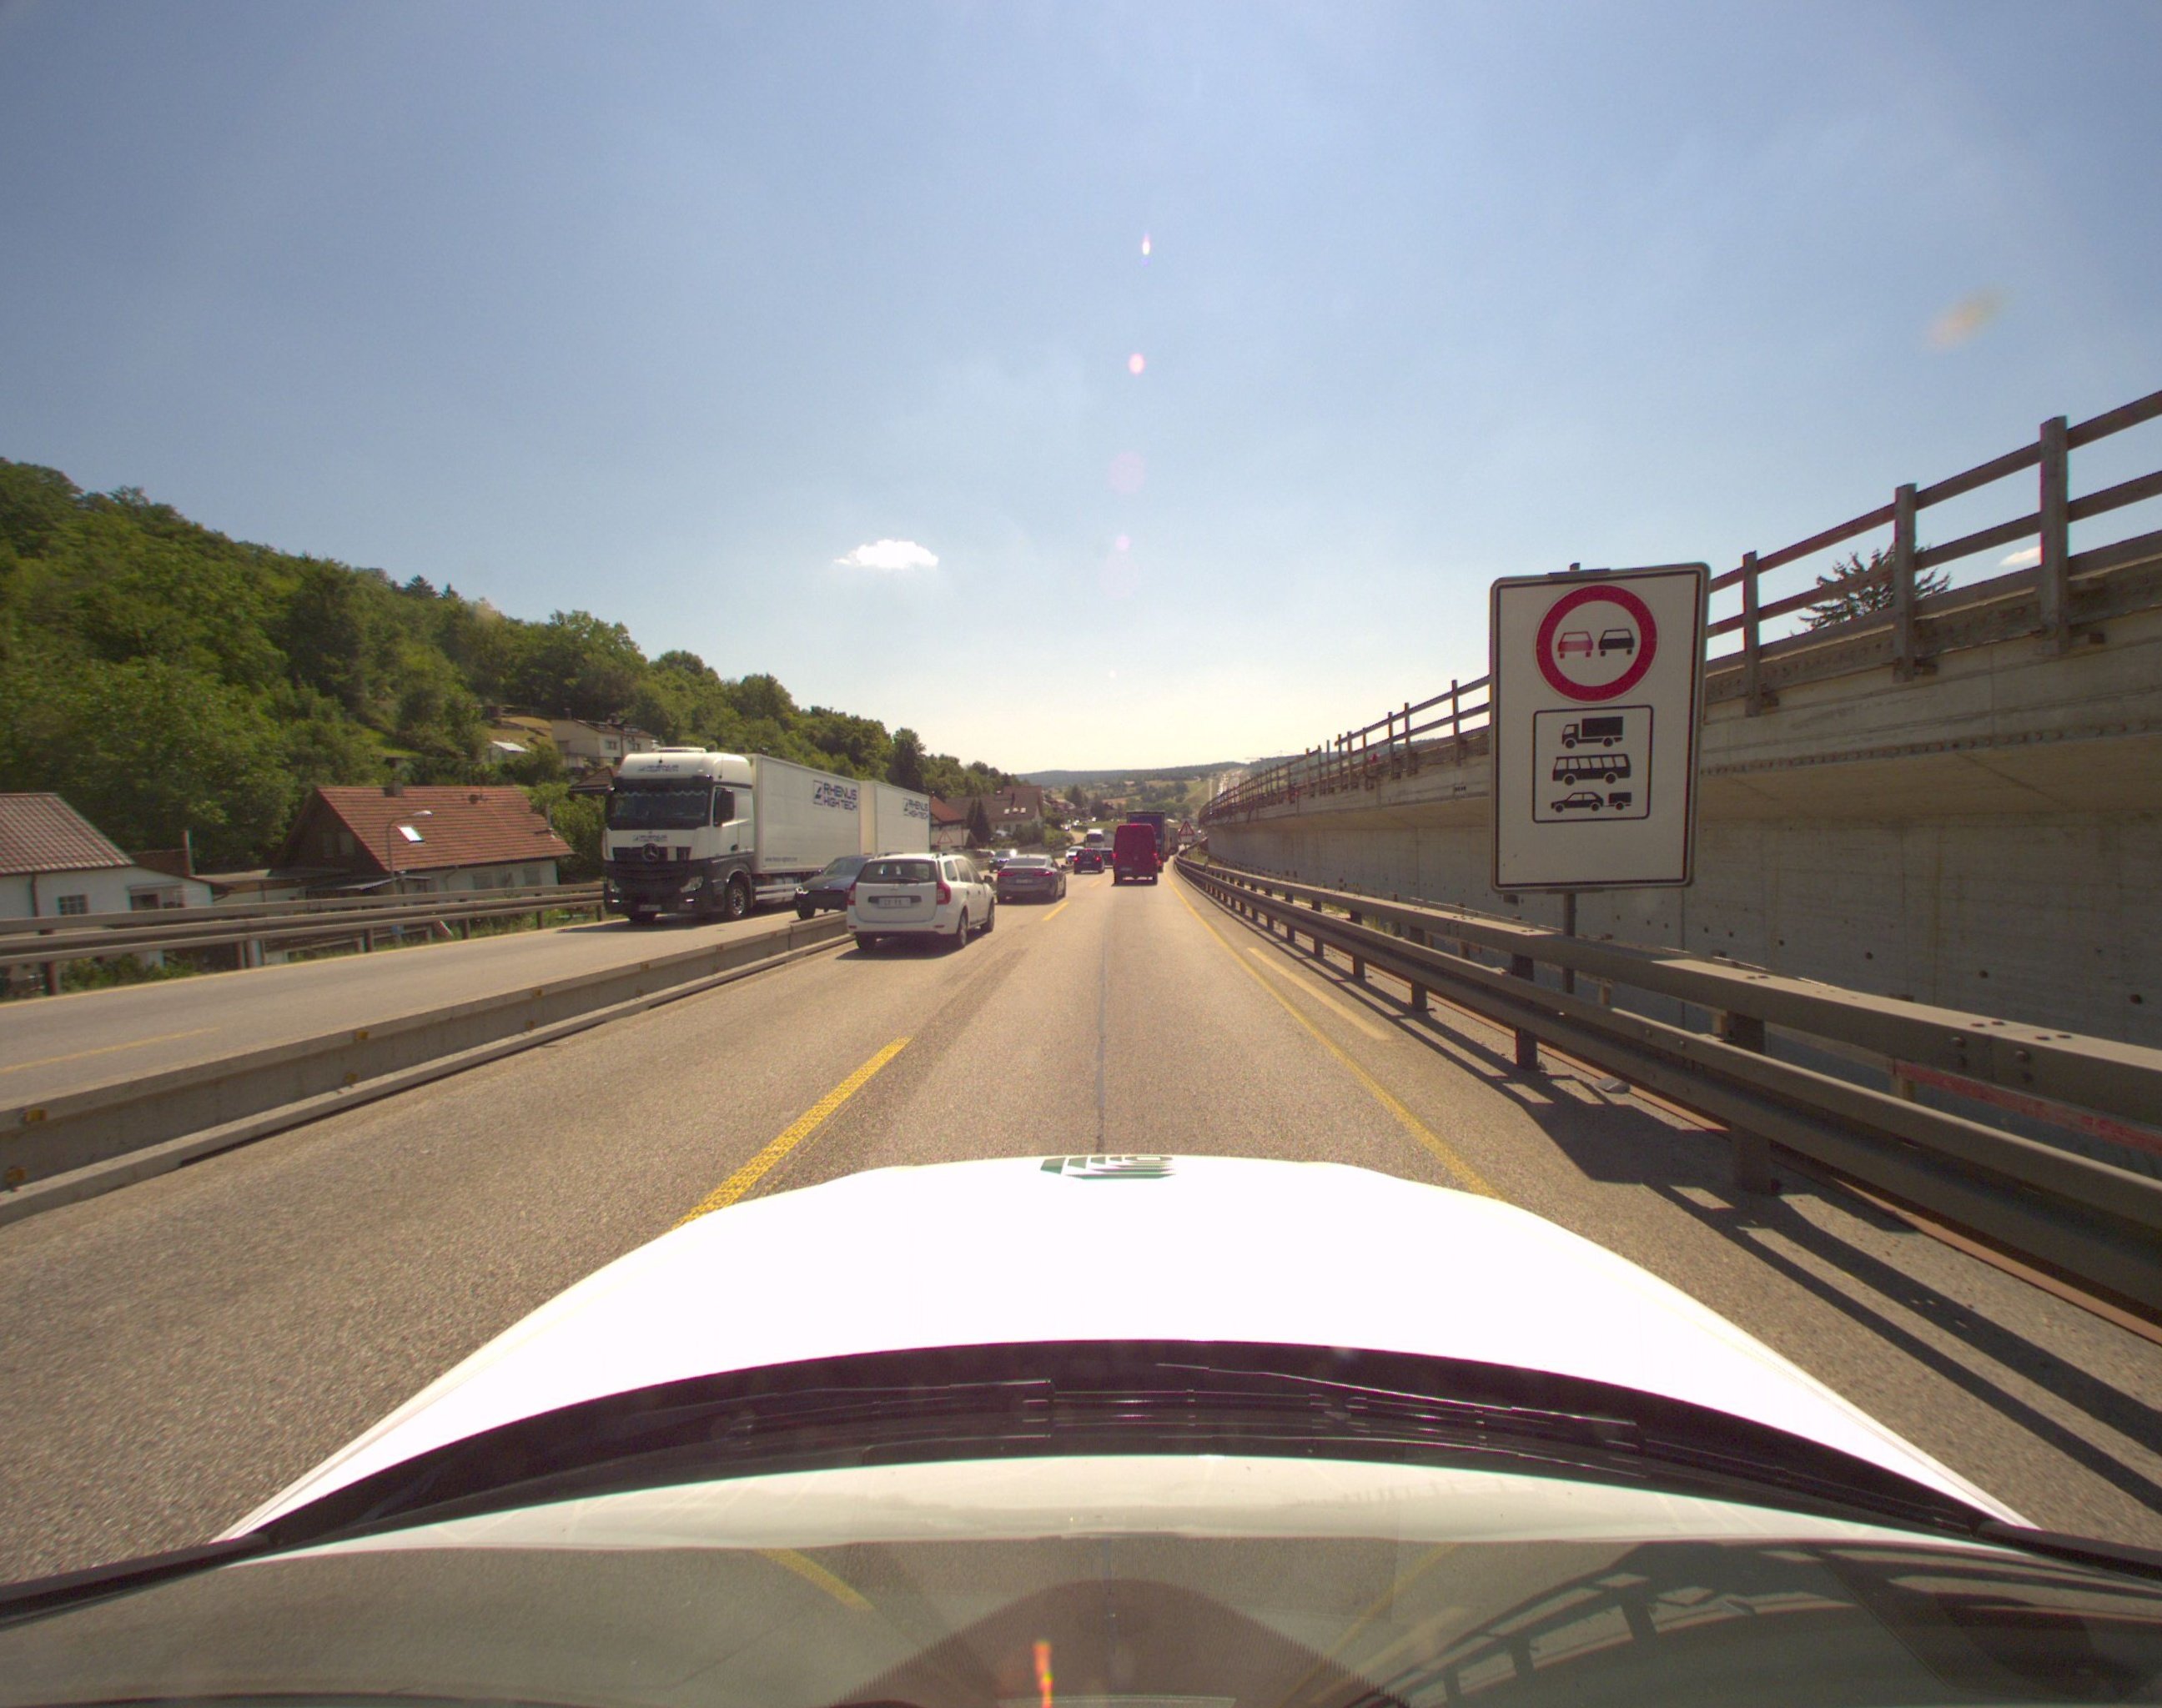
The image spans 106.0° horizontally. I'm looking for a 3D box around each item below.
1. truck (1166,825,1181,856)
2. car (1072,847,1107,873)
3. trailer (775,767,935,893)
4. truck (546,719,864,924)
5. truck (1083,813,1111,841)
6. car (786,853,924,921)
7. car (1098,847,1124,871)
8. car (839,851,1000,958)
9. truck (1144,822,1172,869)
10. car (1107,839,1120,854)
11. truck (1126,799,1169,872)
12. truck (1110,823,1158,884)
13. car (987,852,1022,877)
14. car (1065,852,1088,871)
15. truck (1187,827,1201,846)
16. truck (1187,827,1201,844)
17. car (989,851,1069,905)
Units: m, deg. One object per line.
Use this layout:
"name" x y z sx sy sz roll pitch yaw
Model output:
"truck" 13.499 -1.902 119.491 1.984 4.381 4.005 -1 -1 5
"car" 0.575 0.384 52.451 1.800 1.608 3.726 -1 -1 7
"trailer" -8.398 -0.805 31.814 2.989 4.165 9.029 -1 0 5
"truck" -9.146 -0.710 21.997 2.965 4.162 10.557 -1 0 4
"truck" 2.381 -3.966 121.631 3.116 4.079 6.897 -1 0 9
"car" -5.496 0.736 20.483 1.773 1.479 4.628 -1 0 5
"car" 2.458 0.402 65.365 1.720 1.838 4.007 -1 -1 6
"car" -2.585 0.757 14.061 1.645 1.483 4.269 -3 -1 3
"truck" 8.310 -0.813 88.307 2.772 4.816 9.699 -1 -1 5
"car" 6.068 -1.431 151.255 1.995 2.603 5.990 -1 1 6
"truck" 4.898 -1.173 59.337 2.772 4.816 9.699 -1 -1 5
"truck" 2.436 0.002 37.082 1.984 2.578 4.004 -1 -1 4
"car" -5.561 0.771 59.838 1.898 1.742 4.666 -1 -1 3
"car" -0.396 0.741 79.507 1.741 1.687 4.393 -1 -1 5
"truck" 28.518 -4.450 205.831 3.055 4.381 8.567 -1 -1 5
"truck" 32.052 -5.185 231.724 3.451 4.381 8.567 -1 -1 5
"car" -1.509 0.667 25.053 1.786 1.485 4.056 -1 0 5
